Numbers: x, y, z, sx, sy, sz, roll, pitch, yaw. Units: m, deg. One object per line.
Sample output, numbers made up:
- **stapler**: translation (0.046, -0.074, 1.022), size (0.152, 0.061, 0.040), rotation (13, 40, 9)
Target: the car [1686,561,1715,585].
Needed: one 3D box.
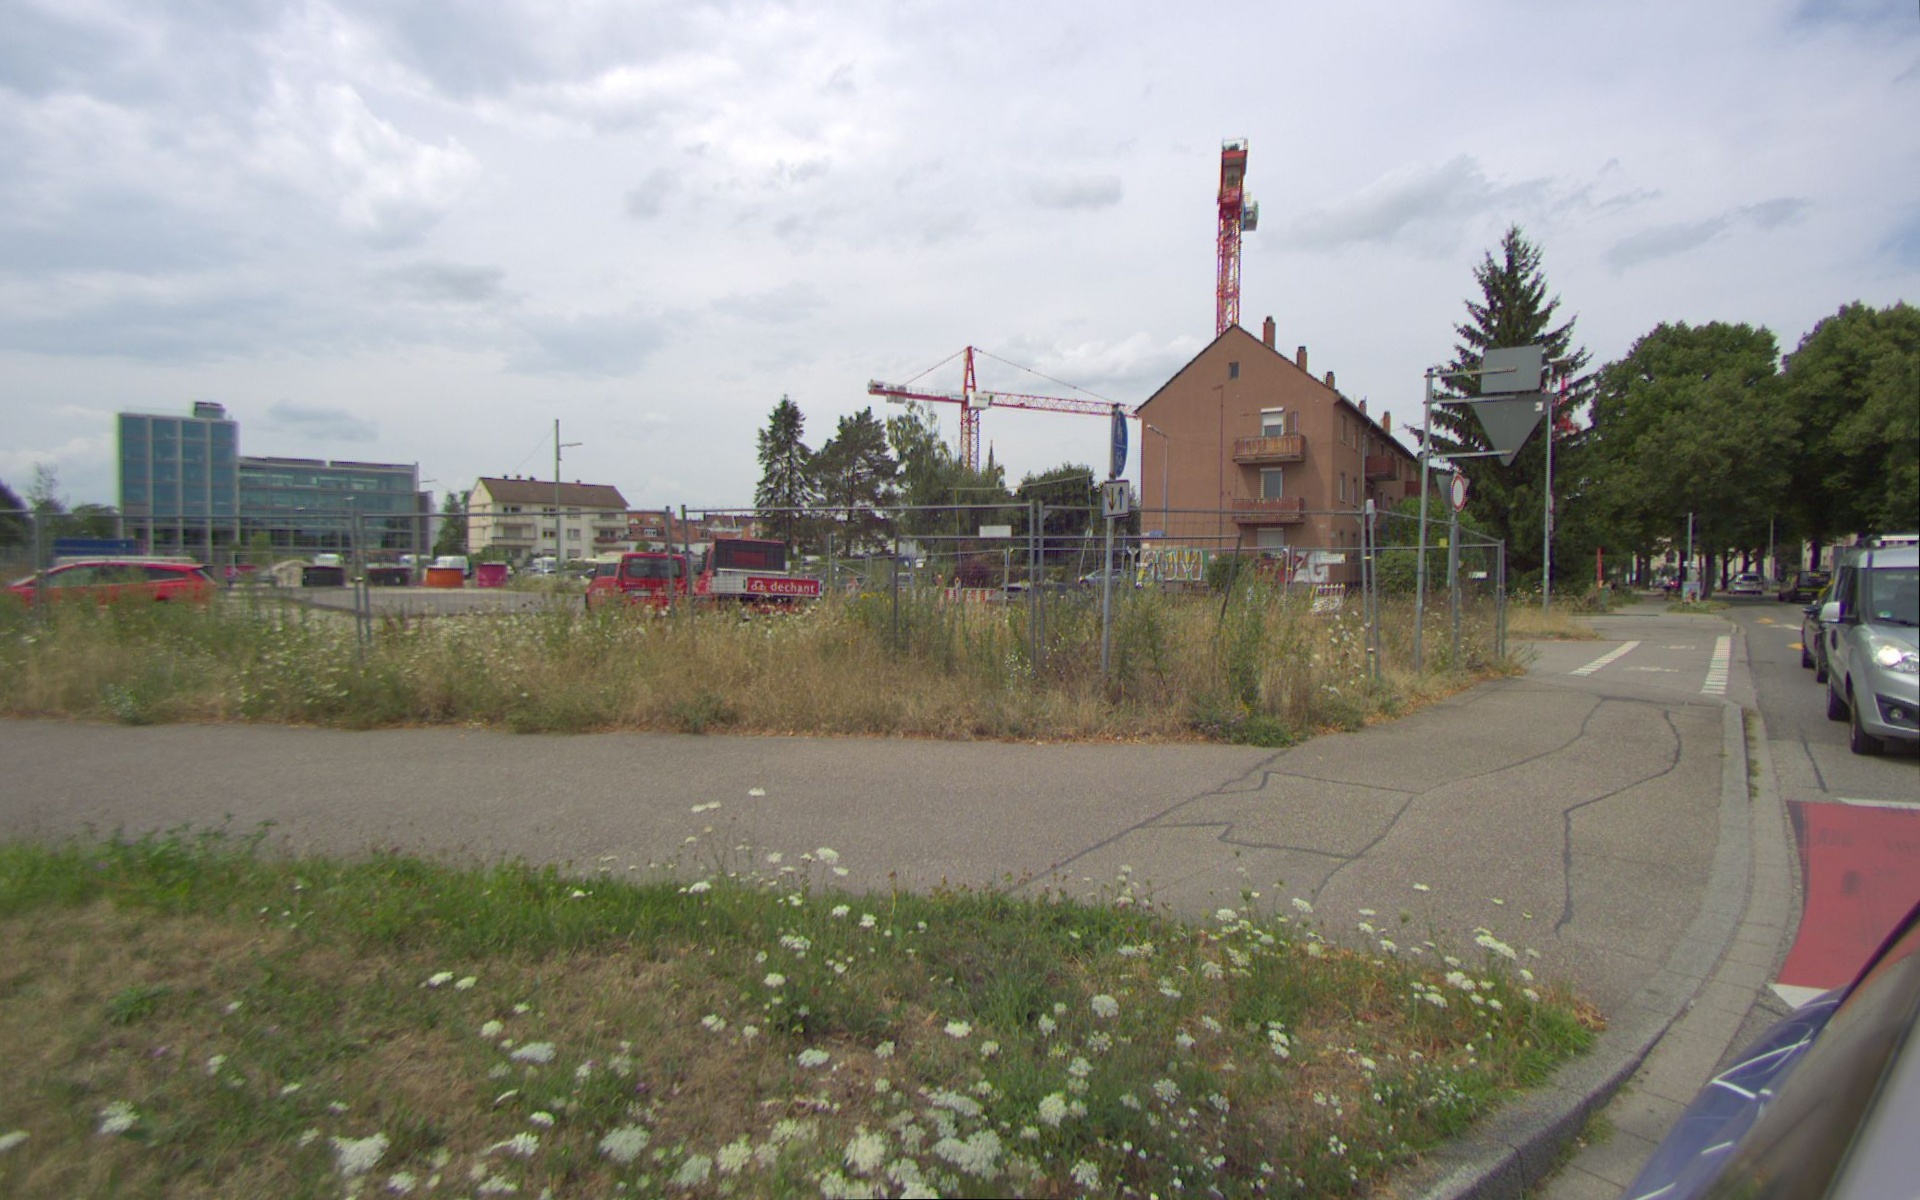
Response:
- **car**: translation (88.212, -3.214, 120.533), size (2.064, 2.719, 5.879), rotation (1, 2, 43)

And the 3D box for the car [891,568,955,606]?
- **car**: translation (-1.944, -0.712, 52.501), size (1.765, 1.871, 4.006), rotation (0, 2, -27)

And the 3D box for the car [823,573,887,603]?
- **car**: translation (-5.858, -0.703, 56.250), size (1.769, 1.622, 4.013), rotation (-1, 2, -37)

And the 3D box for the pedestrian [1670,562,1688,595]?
- **pedestrian**: translation (44.353, -1.323, 62.411), size (0.852, 2.039, 0.721), rotation (1, 1, 40)

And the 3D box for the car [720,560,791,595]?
- **car**: translation (-13.018, -1.459, 64.286), size (4.896, 2.162, 2.113), rotation (2, 2, 45)

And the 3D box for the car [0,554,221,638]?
- **car**: translation (-18.516, -0.123, 20.888), size (1.784, 1.624, 5.057), rotation (2, 2, 45)

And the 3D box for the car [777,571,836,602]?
- **car**: translation (-9.144, -0.853, 60.151), size (1.823, 1.770, 4.012), rotation (-1, 2, -37)

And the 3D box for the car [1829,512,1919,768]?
- **car**: translation (9.248, 0.273, 9.193), size (1.802, 1.971, 4.522), rotation (1, 2, 38)

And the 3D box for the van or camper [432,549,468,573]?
- **van or camper**: translation (-58.283, -4.421, 115.573), size (2.313, 2.721, 5.234), rotation (-1, 2, -43)

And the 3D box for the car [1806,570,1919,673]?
- **car**: translation (15.501, 0.299, 17.086), size (1.810, 1.523, 4.800), rotation (1, 1, 39)

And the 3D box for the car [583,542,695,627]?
- **car**: translation (-8.471, -0.418, 26.398), size (1.897, 1.934, 4.996), rotation (2, 0, -27)

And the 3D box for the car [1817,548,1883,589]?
- **car**: translation (51.703, -1.812, 58.898), size (1.984, 2.301, 5.104), rotation (1, 2, 31)

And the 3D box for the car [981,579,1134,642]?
- **car**: translation (2.610, 0.204, 26.537), size (1.762, 1.491, 4.191), rotation (2, 2, 45)

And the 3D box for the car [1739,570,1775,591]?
- **car**: translation (62.773, -1.533, 79.763), size (1.789, 1.642, 4.691), rotation (1, 2, 33)

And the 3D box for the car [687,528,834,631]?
- **car**: translation (-5.562, -0.593, 27.360), size (2.271, 2.442, 6.554), rotation (0, 2, -26)
